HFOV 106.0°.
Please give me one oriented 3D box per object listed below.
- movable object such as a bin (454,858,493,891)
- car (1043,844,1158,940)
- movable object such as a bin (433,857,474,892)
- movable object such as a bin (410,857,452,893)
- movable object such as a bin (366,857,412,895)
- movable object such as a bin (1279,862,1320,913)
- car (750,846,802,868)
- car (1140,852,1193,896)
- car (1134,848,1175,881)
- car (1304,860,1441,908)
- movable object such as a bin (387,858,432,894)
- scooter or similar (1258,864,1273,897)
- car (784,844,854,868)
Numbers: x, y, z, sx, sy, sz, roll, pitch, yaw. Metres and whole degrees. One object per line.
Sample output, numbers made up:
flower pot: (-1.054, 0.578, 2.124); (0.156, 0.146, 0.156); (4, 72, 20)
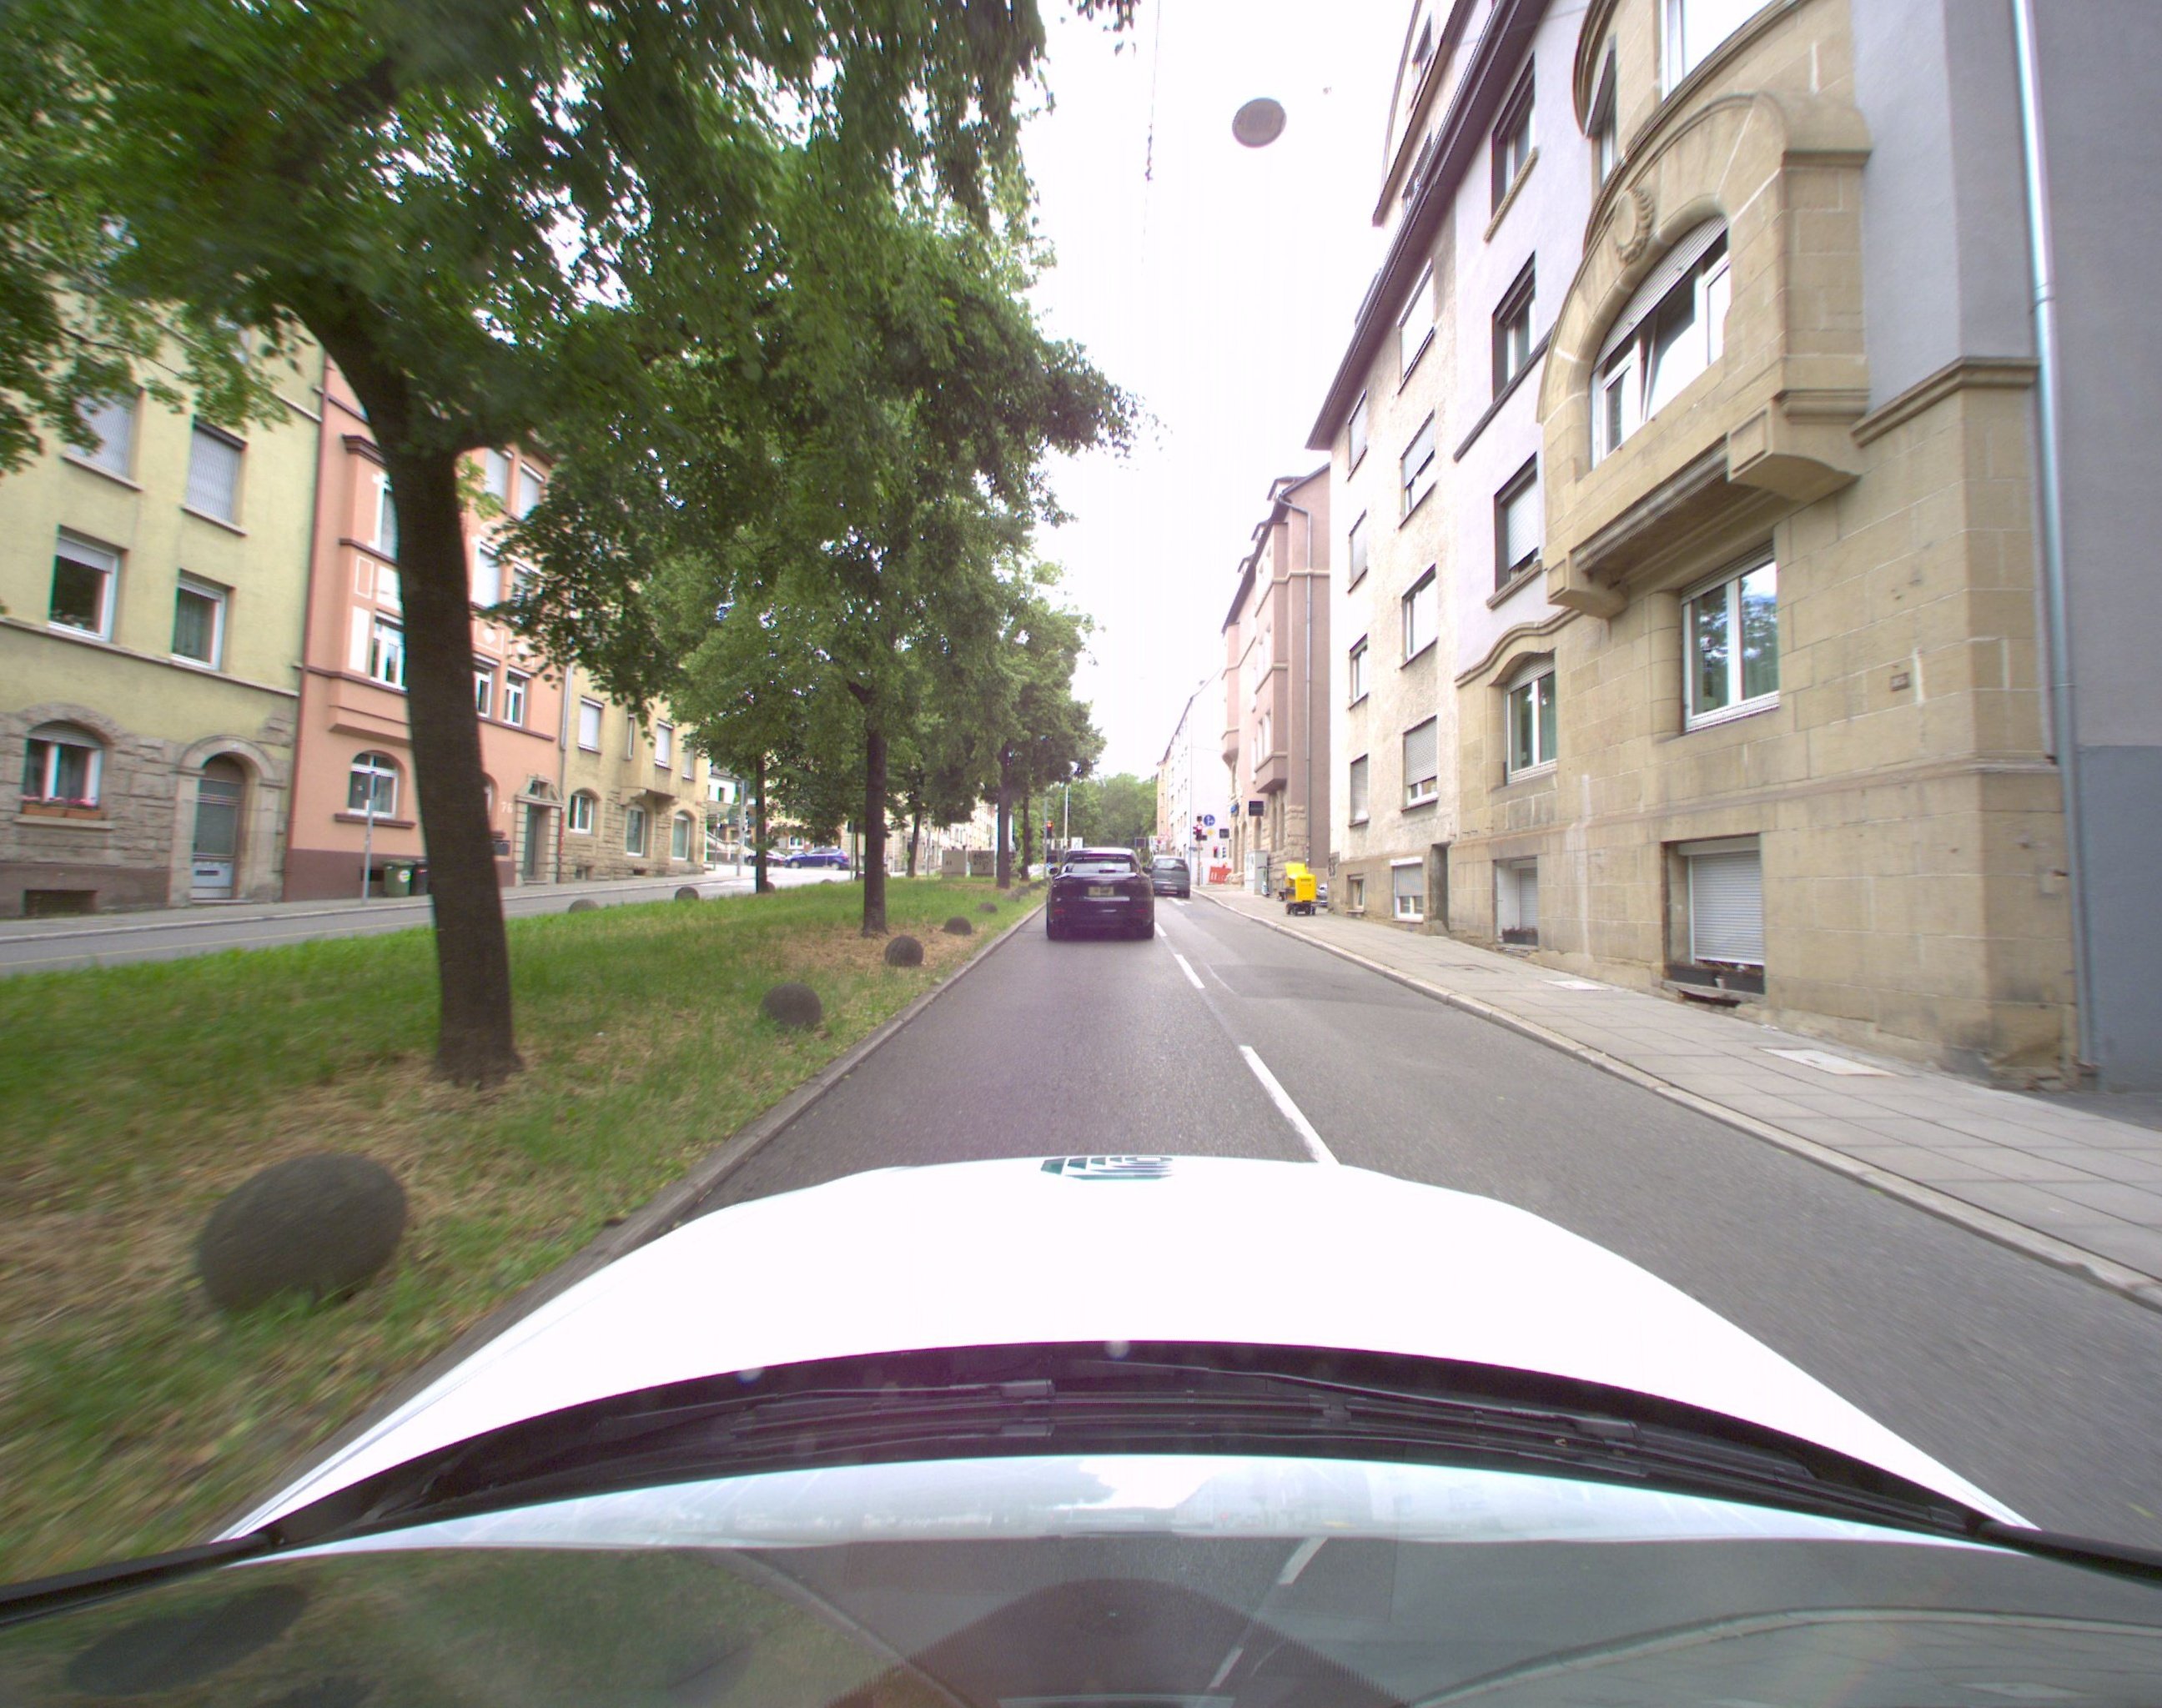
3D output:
movable object such as a bin: (-17.151, 0.565, 23.014); (0.607, 0.904, 0.601); (2, 0, -2)
car: (0.422, 0.638, 16.051); (1.986, 1.653, 4.003); (0, 0, 2)
movable object such as a bin: (-17.201, 0.557, 22.333); (0.607, 0.904, 0.601); (2, 0, -2)
movable object such as a bin: (-17.165, 0.551, 21.516); (0.607, 0.904, 0.601); (2, 0, -2)
movable object such as a bin: (-17.188, 0.549, 20.238); (0.607, 0.904, 0.601); (2, 0, -2)
movable object such as a bin: (6.251, 0.949, 23.358); (0.717, 1.421, 1.693); (0, -1, 0)
car: (-23.922, 0.240, 63.854); (3.948, 1.665, 1.894); (0, -2, 35)
car: (3.399, 0.748, 32.823); (1.746, 1.593, 3.631); (3, 0, 1)
car: (3.851, 0.564, 43.189); (1.986, 1.653, 4.002); (0, -1, 2)
car: (9.751, 0.974, 27.439); (3.972, 1.403, 1.801); (1, 2, 1)
movable object such as a bin: (-17.199, 0.556, 20.879); (0.607, 0.904, 0.601); (2, 0, -2)
scooter or similar: (6.991, 0.980, 30.879); (0.399, 1.188, 1.356); (0, 1, 6)
car: (-17.722, 0.119, 55.306); (4.201, 1.510, 1.796); (2, 0, -8)
